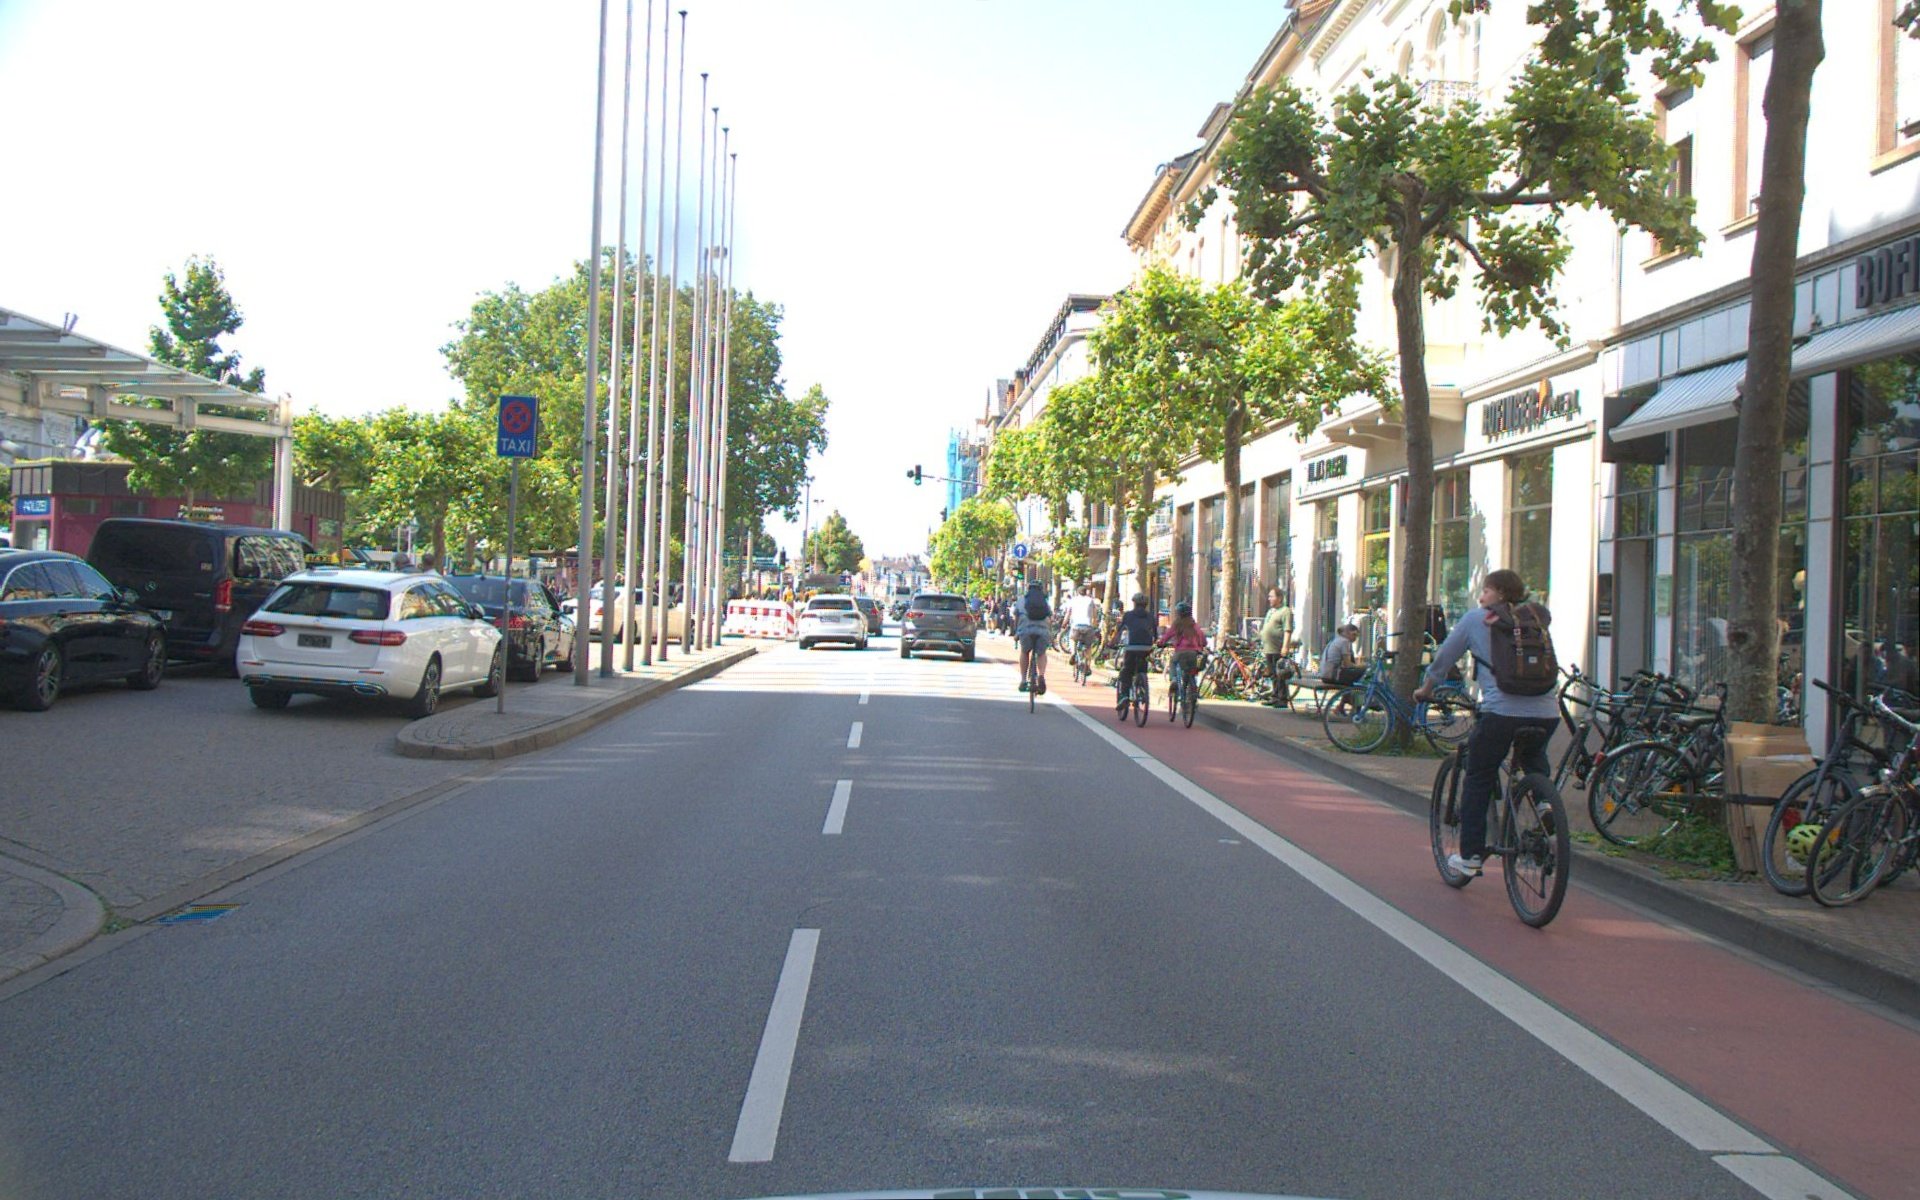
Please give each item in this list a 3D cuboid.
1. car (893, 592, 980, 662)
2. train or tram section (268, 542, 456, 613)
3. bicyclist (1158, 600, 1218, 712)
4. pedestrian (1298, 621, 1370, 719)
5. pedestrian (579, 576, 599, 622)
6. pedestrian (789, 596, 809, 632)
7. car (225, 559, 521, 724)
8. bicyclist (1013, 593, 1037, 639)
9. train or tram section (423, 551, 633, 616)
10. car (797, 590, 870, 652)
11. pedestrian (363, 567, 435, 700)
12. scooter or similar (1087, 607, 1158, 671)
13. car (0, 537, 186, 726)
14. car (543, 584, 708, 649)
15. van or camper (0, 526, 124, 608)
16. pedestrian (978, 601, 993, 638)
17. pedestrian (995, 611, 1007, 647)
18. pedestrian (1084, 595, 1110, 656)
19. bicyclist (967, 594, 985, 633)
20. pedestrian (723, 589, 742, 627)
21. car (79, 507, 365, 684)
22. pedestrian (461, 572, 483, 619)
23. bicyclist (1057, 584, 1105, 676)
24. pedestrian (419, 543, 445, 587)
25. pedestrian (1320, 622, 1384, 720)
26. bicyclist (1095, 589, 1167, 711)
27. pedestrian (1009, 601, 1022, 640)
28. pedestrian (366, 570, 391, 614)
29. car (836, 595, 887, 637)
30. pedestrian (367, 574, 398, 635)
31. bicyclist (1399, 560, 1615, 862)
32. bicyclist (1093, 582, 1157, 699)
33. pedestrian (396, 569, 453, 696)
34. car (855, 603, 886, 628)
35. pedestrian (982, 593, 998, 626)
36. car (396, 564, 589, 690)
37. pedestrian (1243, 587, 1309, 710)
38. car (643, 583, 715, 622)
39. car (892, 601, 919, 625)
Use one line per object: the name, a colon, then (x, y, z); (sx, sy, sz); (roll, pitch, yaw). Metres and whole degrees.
car: (-0.614, 0.612, 39.775); (1.809, 1.586, 3.996); (1, 0, -5)
train or tram section: (-34.622, -1.243, 96.396); (2.566, 3.741, 10.971); (2, 0, 32)
bicyclist: (2.875, 0.696, 20.909); (0.588, 1.381, 0.720); (0, 0, -6)
pedestrian: (5.036, 0.939, 22.298); (0.772, 1.265, 0.575); (3, -1, -5)
pedestrian: (-14.933, -0.032, 66.573); (0.572, 1.752, 0.789); (2, -4, -1)
pedestrian: (-7.312, 0.636, 75.087); (0.619, 1.623, 0.687); (1, -1, 18)
car: (-6.426, 0.388, 18.708); (1.763, 1.549, 4.736); (3, 0, -2)
bicyclist: (2.599, 0.642, 66.186); (0.569, 1.829, 0.846); (0, 0, -37)
train or tram section: (-27.697, -0.951, 107.370); (2.566, 3.741, 15.504); (2, 0, 32)
car: (-3.425, 0.543, 45.226); (1.808, 1.587, 3.998); (1, 0, -2)
pedestrian: (-7.913, 0.464, 23.337); (0.608, 1.824, 0.690); (2, 0, 37)
scooter or similar: (3.551, 0.842, 36.126); (1.443, 1.296, 0.670); (3, -1, 8)
car: (-9.512, 0.225, 16.404); (1.956, 1.638, 4.394); (3, 0, -7)
car: (-8.976, 0.451, 44.875); (1.854, 1.568, 4.858); (3, 0, 24)
van or camper: (-23.712, -0.798, 42.798); (1.836, 1.952, 5.020); (2, -1, -4)
pedestrian: (1.262, 0.936, 81.117); (0.598, 1.770, 0.677); (-2, -1, -4)
pedestrian: (1.821, 1.266, 72.809); (0.512, 1.548, 0.641); (0, -1, 1)
pedestrian: (3.761, 0.701, 45.497); (0.602, 1.640, 0.744); (2, 0, -2)
bicyclist: (0.657, 0.557, 67.522); (0.634, 1.578, 0.817); (2, 0, -3)
pedestrian: (-11.069, 0.392, 80.574); (0.619, 1.842, 0.731); (1, -1, 18)
car: (-9.623, -0.060, 22.026); (1.795, 2.049, 4.683); (2, 0, -2)
pedestrian: (-18.782, -0.172, 63.674); (0.564, 1.769, 0.606); (3, -1, 3)
bicyclist: (2.249, 0.551, 30.822); (0.759, 1.664, 0.851); (1, 0, -2)
pedestrian: (-21.981, -1.460, 68.881); (0.593, 1.780, 0.802); (1, -2, 29)
pedestrian: (5.154, 0.928, 21.783); (0.626, 1.254, 0.596); (3, -1, -5)
bicyclist: (2.139, 0.611, 20.758); (0.685, 1.466, 0.789); (3, -1, -6)
pedestrian: (2.350, 0.864, 70.213); (0.537, 1.659, 0.589); (0, -1, 0)
pedestrian: (-21.089, -0.292, 59.980); (0.564, 1.559, 0.606); (3, -1, 3)
car: (-3.642, 0.572, 61.142); (1.809, 1.474, 3.997); (1, 0, -3)
pedestrian: (-16.407, 0.121, 46.971); (0.659, 1.706, 0.685); (2, 0, -11)
bicyclist: (2.846, 0.553, 8.694); (0.685, 1.471, 0.960); (3, -1, -6)
bicyclist: (2.205, 0.542, 22.182); (0.618, 1.507, 1.197); (2, -2, -3)
pedestrian: (-7.820, 0.466, 24.170); (0.522, 1.824, 0.537); (2, 0, 37)
car: (-5.481, 0.915, 101.403); (1.809, 1.438, 3.997); (2, 0, -3)
pedestrian: (1.414, 0.458, 77.997); (0.598, 1.542, 0.677); (-2, -1, -4)
car: (-6.779, 0.351, 24.493); (1.726, 1.628, 4.706); (2, 0, -3)
pedestrian: (4.598, 0.693, 24.090); (0.627, 1.718, 0.842); (4, 0, -5)
car: (-15.494, 0.174, 91.500); (1.820, 1.989, 4.762); (2, -1, 18)
car: (-4.186, 0.984, 126.269); (1.809, 1.697, 3.996); (3, 0, -4)
